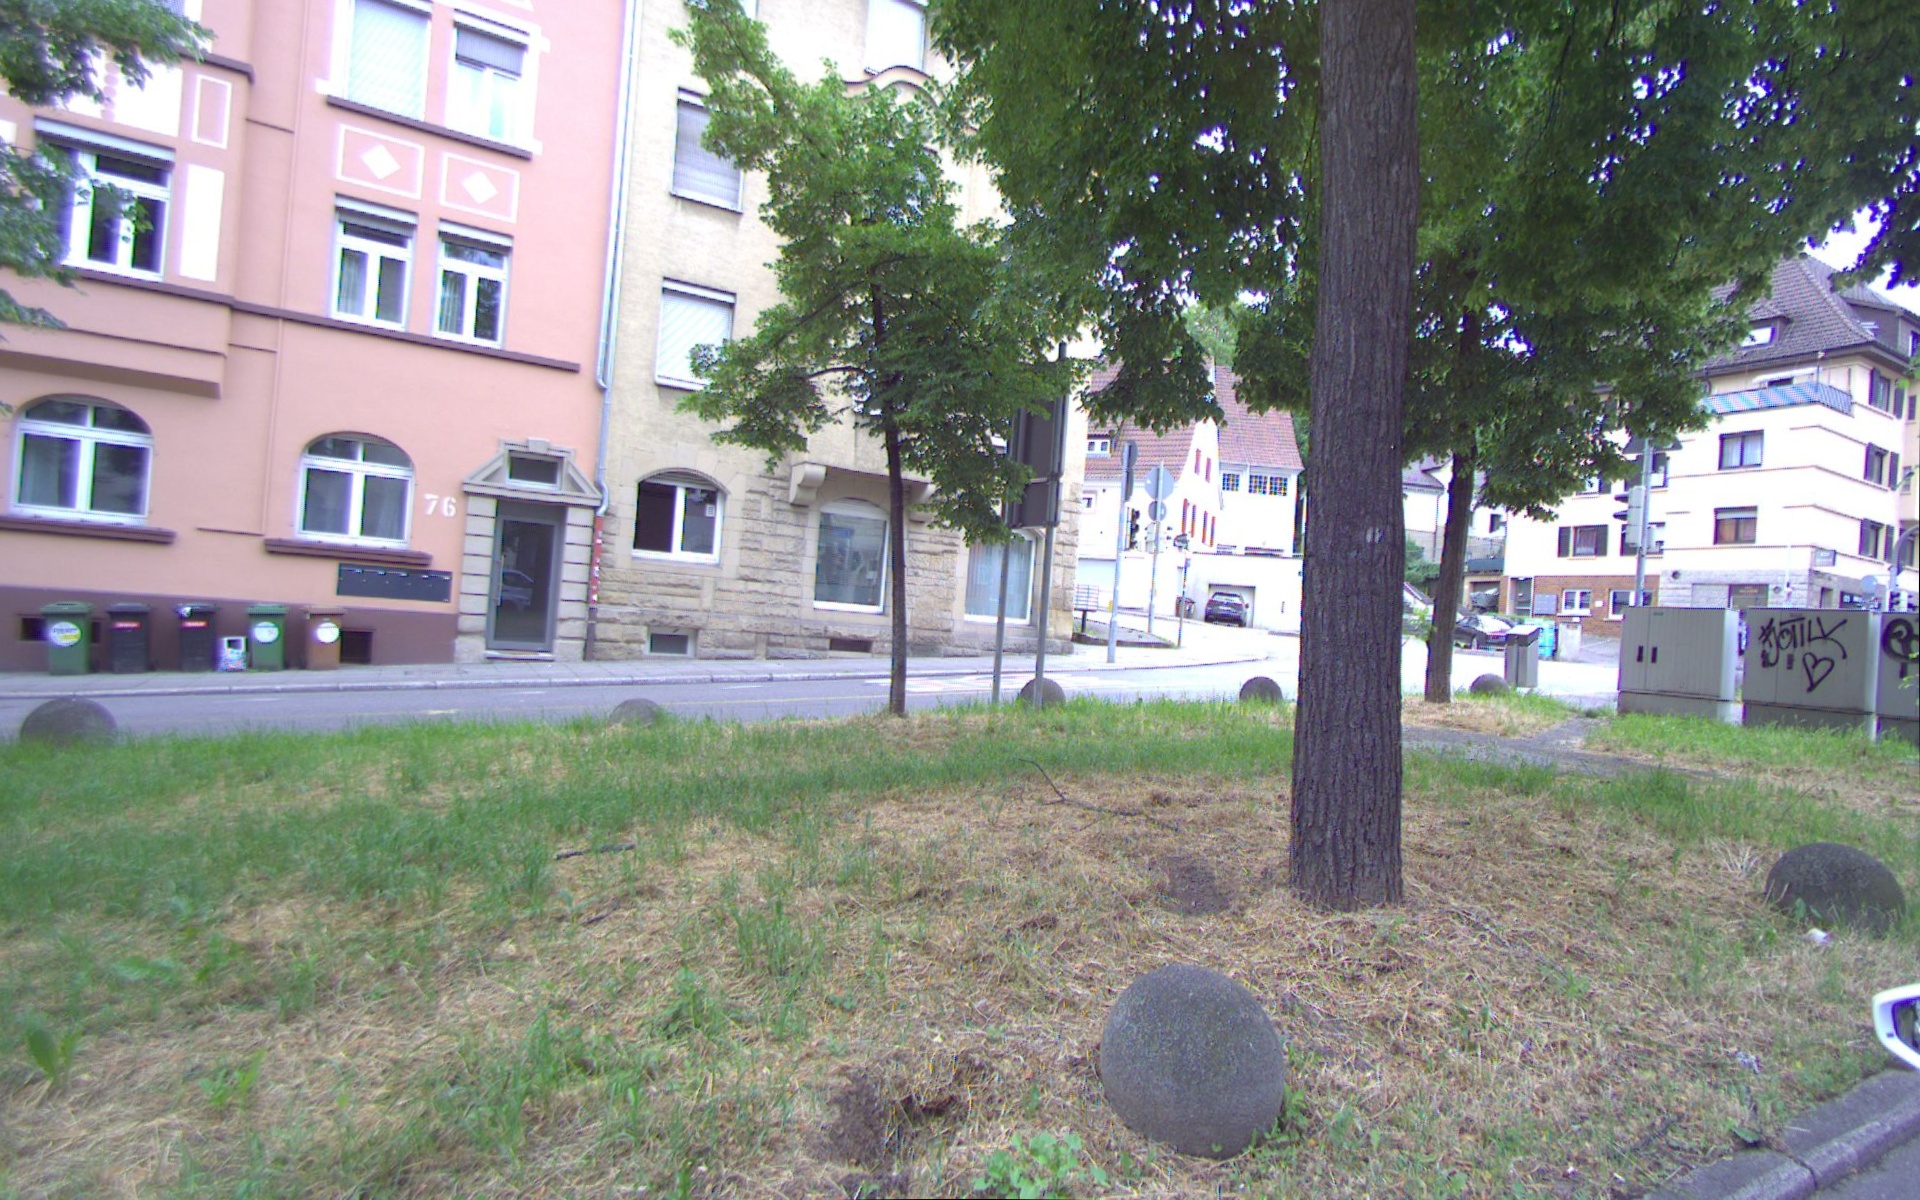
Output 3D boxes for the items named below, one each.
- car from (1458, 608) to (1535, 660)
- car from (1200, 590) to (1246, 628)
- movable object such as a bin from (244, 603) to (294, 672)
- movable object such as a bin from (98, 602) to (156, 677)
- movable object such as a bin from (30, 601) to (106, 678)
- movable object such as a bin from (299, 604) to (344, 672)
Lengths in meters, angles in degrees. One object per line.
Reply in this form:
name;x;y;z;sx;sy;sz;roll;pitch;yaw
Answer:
car;21.898;1.334;41.131;1.832;1.619;3.519;2;6;13
car;11.714;0.370;44.804;1.638;1.424;3.058;7;3;11
movable object such as a bin;-9.790;0.526;14.251;0.554;0.934;0.649;2;0;-34
movable object such as a bin;-11.154;0.523;13.463;0.527;0.958;0.576;2;0;-36
movable object such as a bin;-11.656;0.509;13.140;0.611;0.961;0.613;2;0;-31
movable object such as a bin;-9.267;0.543;14.572;0.510;0.934;0.752;2;0;-34
